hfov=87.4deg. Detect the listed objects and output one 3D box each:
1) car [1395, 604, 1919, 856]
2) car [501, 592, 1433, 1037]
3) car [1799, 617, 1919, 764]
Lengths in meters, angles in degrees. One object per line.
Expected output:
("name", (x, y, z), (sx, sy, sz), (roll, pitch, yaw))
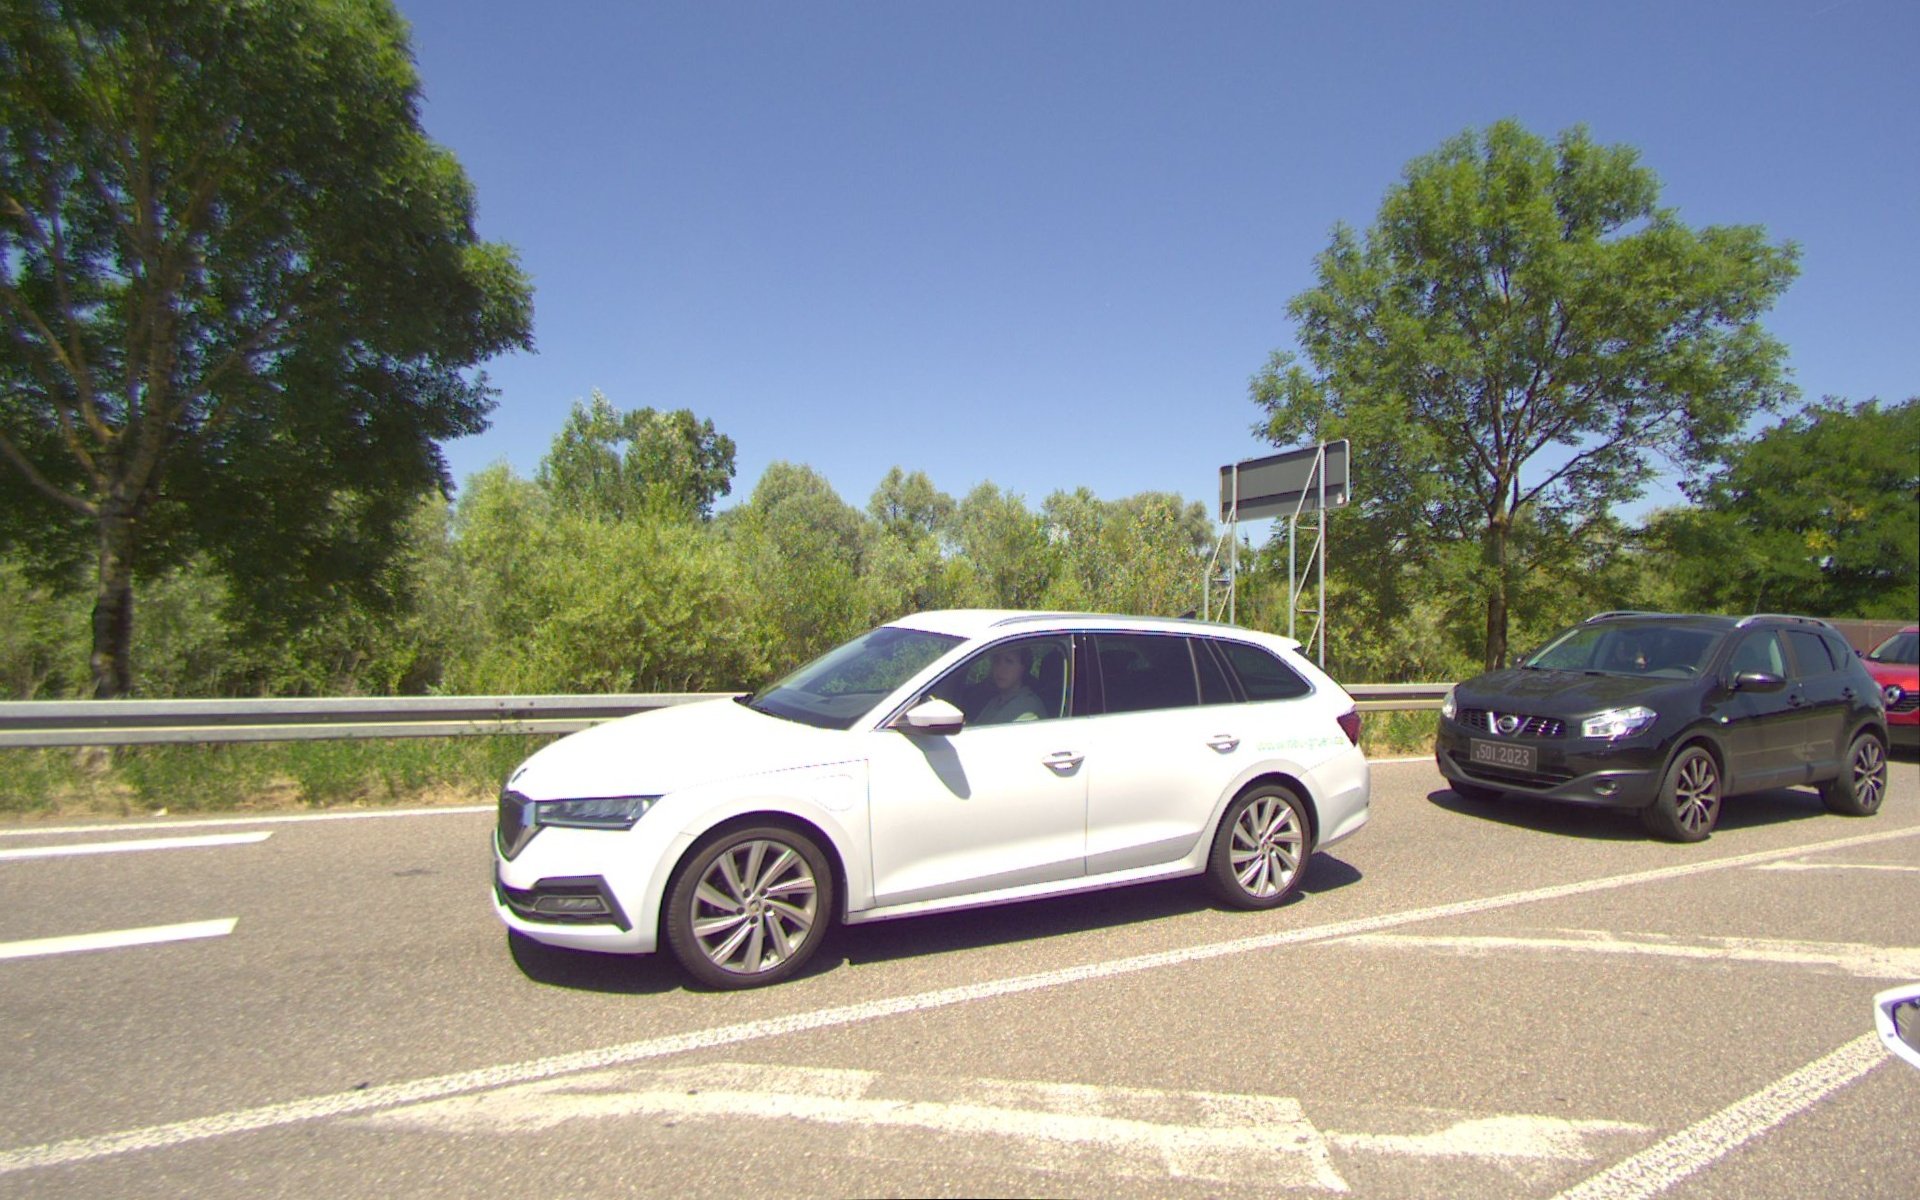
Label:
("car", (5.836, 0.891, 8.275), (4.477, 1.610, 1.710), (1, 0, -28))
("car", (0.191, 0.772, 5.180), (4.571, 1.498, 1.647), (1, 0, -28))
("car", (12.673, 1.086, 12.680), (4.225, 1.653, 1.748), (1, 0, -28))
